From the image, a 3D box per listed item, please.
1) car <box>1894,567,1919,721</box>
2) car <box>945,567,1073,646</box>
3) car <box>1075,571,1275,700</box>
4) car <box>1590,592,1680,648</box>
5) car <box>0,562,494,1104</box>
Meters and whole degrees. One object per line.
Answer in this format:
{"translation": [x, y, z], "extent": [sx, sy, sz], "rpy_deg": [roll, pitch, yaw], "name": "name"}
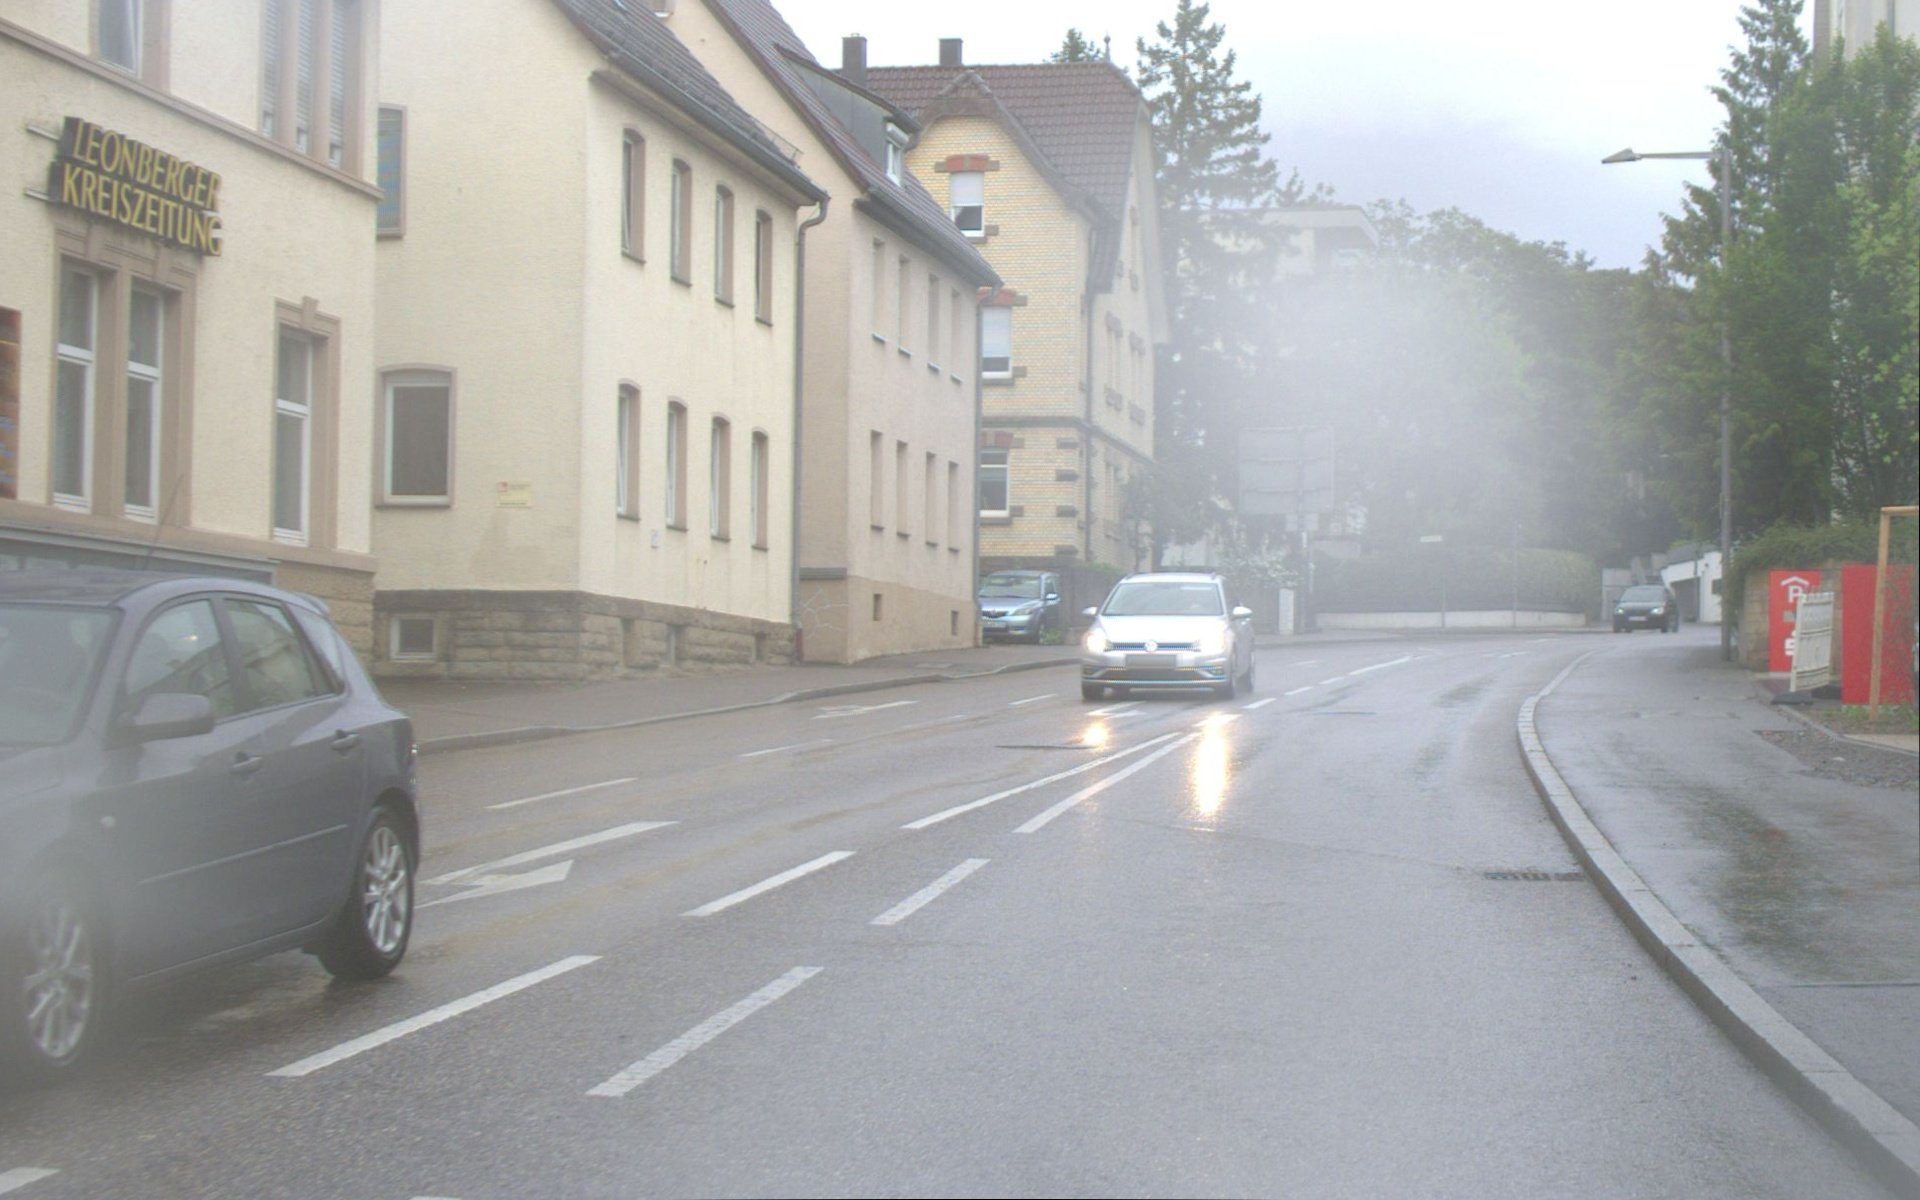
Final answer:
{"translation": [11.243, 0.470, 34.060], "extent": [3.668, 1.498, 1.776], "rpy_deg": [2, 1, 11], "name": "car"}
{"translation": [1.024, 0.108, 69.564], "extent": [1.772, 1.498, 3.880], "rpy_deg": [2, 1, 13], "name": "car"}
{"translation": [2.638, 0.379, 41.214], "extent": [1.800, 1.434, 4.687], "rpy_deg": [1, 1, 11], "name": "car"}
{"translation": [20.504, 0.621, 104.310], "extent": [1.747, 1.566, 3.808], "rpy_deg": [4, 1, 24], "name": "car"}
{"translation": [-3.114, 0.602, 11.015], "extent": [1.800, 1.434, 4.687], "rpy_deg": [1, 1, 11], "name": "car"}
